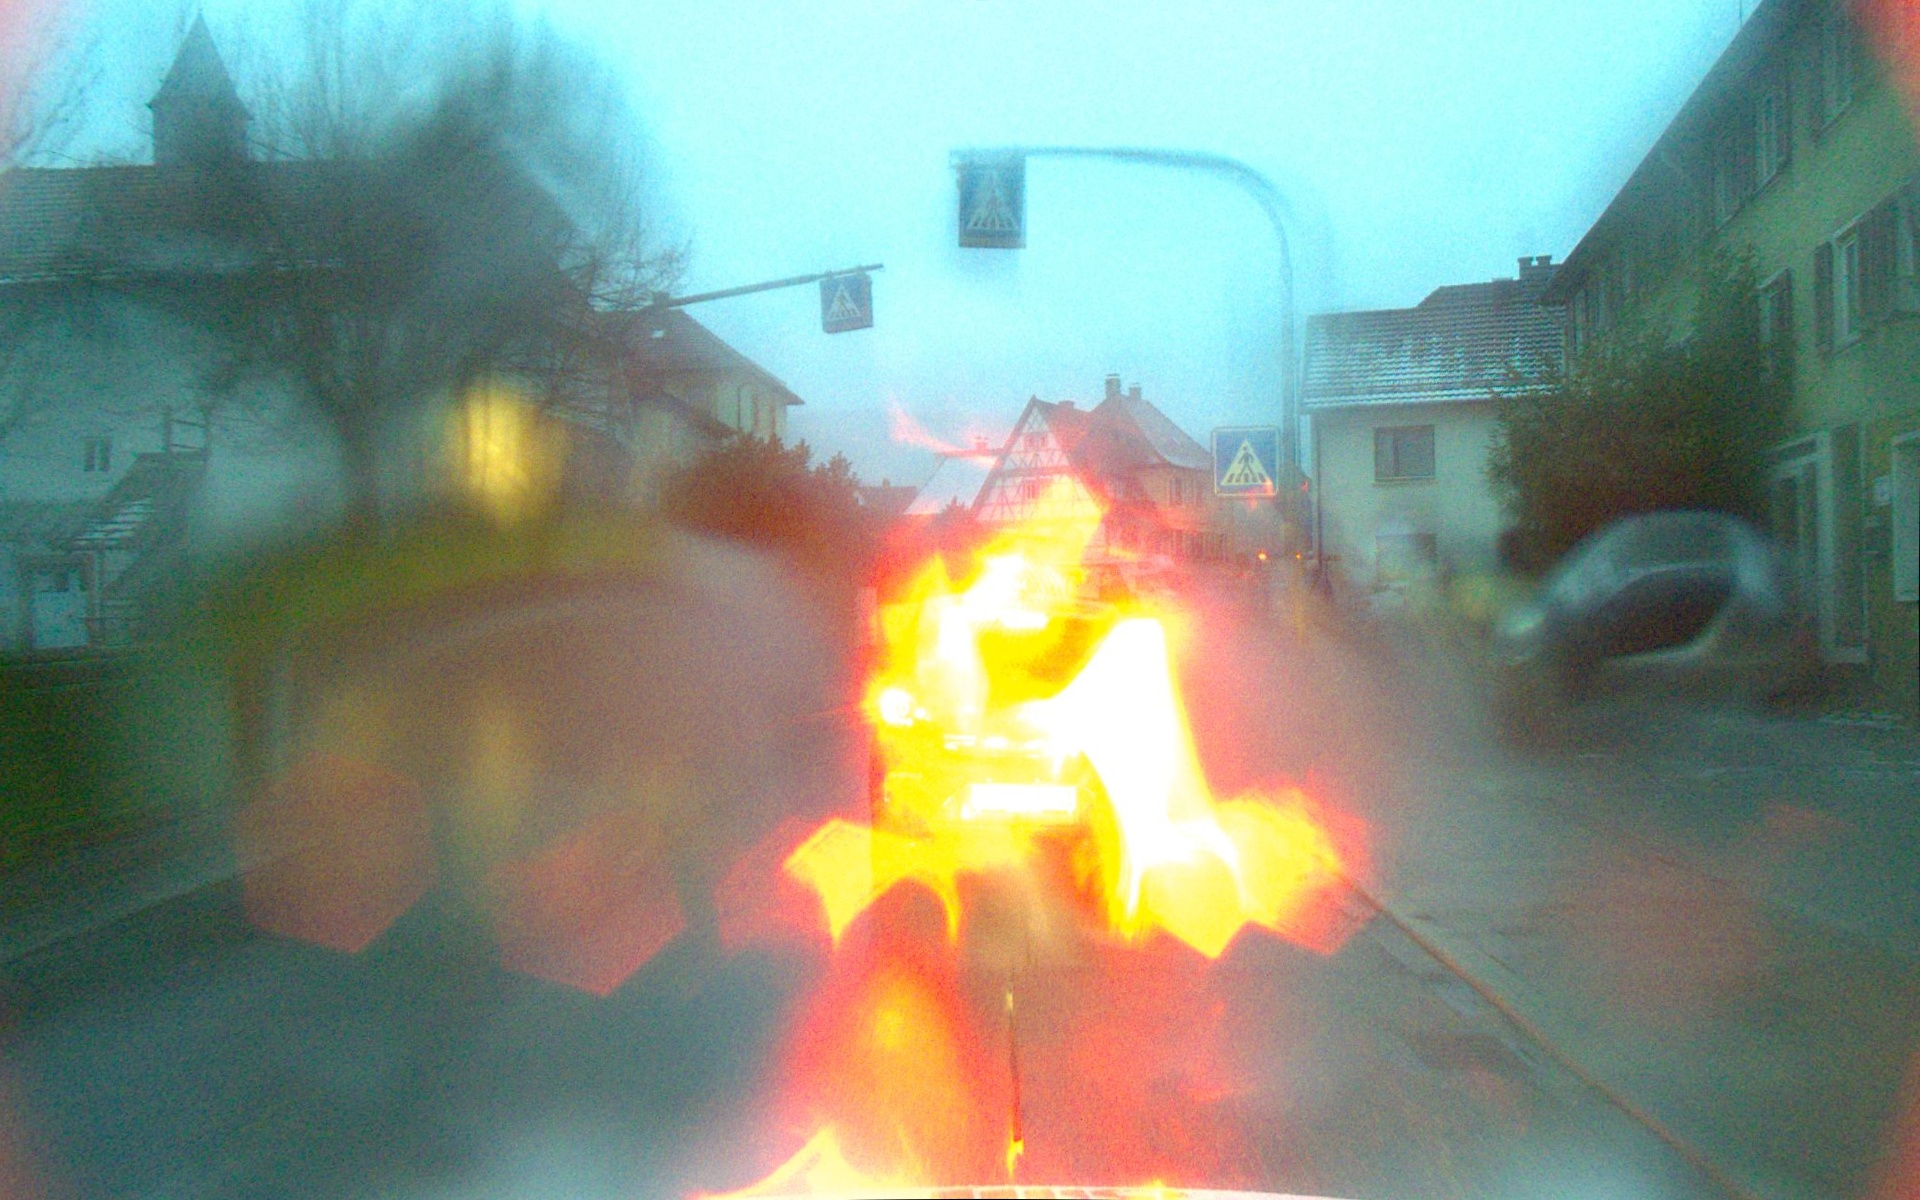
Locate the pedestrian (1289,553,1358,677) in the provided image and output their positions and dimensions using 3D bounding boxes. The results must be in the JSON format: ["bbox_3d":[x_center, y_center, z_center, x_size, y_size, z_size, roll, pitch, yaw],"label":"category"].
[{"bbox_3d":[5.420,0.217,24.611,0.830,1.763,0.972,-4,0,17],"label":"pedestrian"}]

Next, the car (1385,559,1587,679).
[{"bbox_3d":[7.537,0.256,23.893,2.528,1.574,1.553,-2,1,9],"label":"car"}]

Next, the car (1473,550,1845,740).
[{"bbox_3d":[6.048,0.383,14.561,2.704,1.499,1.428,-2,0,9],"label":"car"}]

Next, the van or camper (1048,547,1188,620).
[{"bbox_3d":[7.383,-0.747,77.460,5.940,3.006,2.405,-4,-1,25],"label":"van or camper"}]

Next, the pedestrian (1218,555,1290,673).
[{"bbox_3d":[4.425,0.202,24.842,0.849,1.696,0.993,-4,0,17],"label":"pedestrian"}]

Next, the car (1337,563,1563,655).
[{"bbox_3d":[8.968,0.156,30.530,3.816,1.499,1.752,-2,0,12],"label":"car"}]

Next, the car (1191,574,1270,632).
[{"bbox_3d":[8.193,0.064,49.863,1.808,1.665,4.338,0,0,16],"label":"car"}]

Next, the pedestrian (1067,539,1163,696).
[{"bbox_3d":[1.851,0.200,19.636,0.861,1.765,0.956,-4,0,17],"label":"pedestrian"}]

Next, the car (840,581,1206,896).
[{"bbox_3d":[0.193,0.641,9.937,1.760,1.502,3.998,0,1,-3],"label":"car"}]
